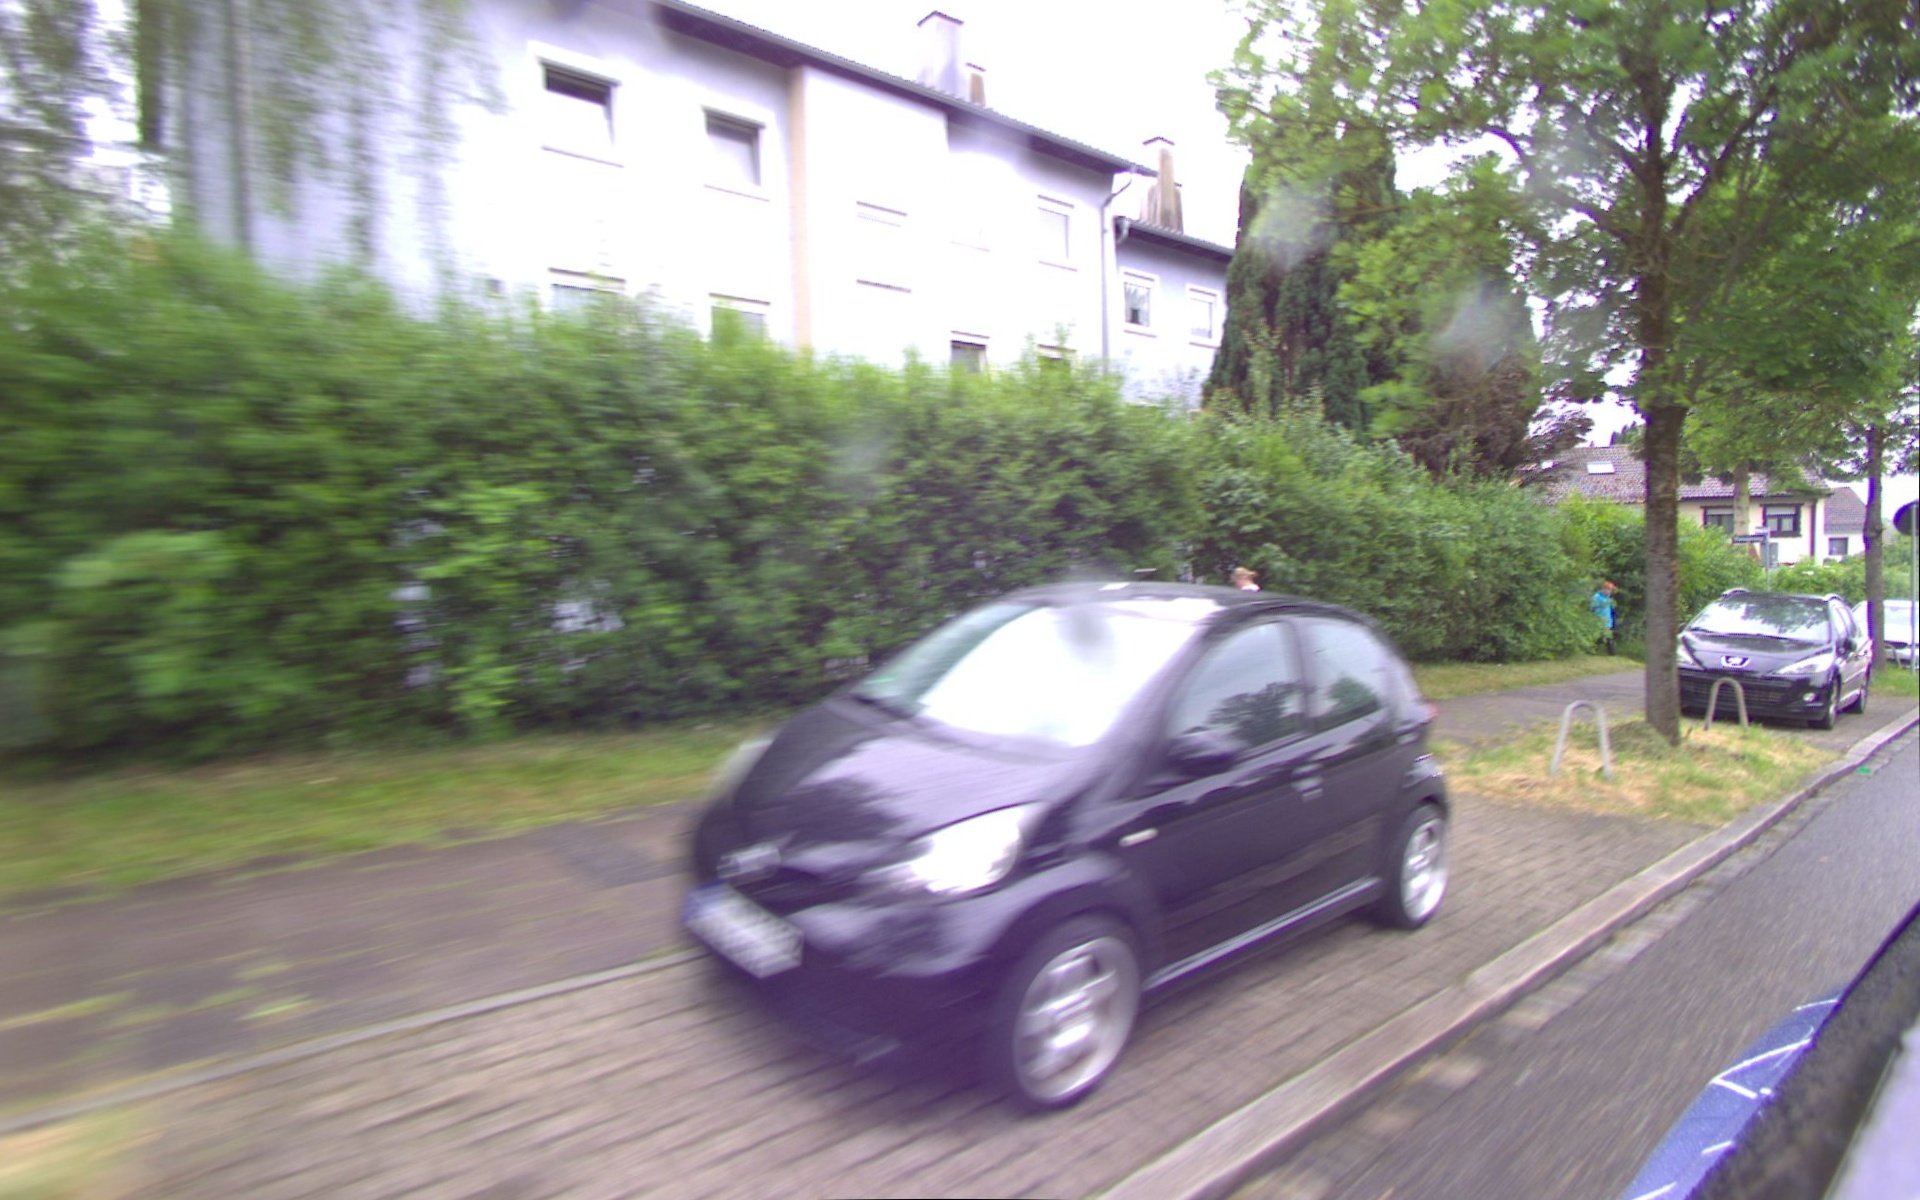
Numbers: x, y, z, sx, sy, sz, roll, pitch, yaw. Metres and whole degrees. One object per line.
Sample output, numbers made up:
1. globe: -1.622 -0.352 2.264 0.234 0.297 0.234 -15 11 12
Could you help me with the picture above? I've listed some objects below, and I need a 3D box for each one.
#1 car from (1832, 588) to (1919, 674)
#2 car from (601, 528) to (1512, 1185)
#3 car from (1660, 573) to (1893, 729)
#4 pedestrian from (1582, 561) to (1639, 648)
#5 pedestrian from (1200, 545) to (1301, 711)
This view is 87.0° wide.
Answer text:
1. car: 19.450 0.562 20.703 4.511 1.540 1.802 -1 3 -41
2. car: 0.675 0.558 4.243 3.721 1.530 1.725 0 3 -42
3. car: 10.339 0.534 12.716 3.945 1.615 1.644 0 3 -42
4. pedestrian: 13.143 0.075 20.446 0.641 1.700 0.710 0 2 -34
5. pedestrian: 3.151 0.275 10.957 0.886 1.700 0.712 2 2 27
